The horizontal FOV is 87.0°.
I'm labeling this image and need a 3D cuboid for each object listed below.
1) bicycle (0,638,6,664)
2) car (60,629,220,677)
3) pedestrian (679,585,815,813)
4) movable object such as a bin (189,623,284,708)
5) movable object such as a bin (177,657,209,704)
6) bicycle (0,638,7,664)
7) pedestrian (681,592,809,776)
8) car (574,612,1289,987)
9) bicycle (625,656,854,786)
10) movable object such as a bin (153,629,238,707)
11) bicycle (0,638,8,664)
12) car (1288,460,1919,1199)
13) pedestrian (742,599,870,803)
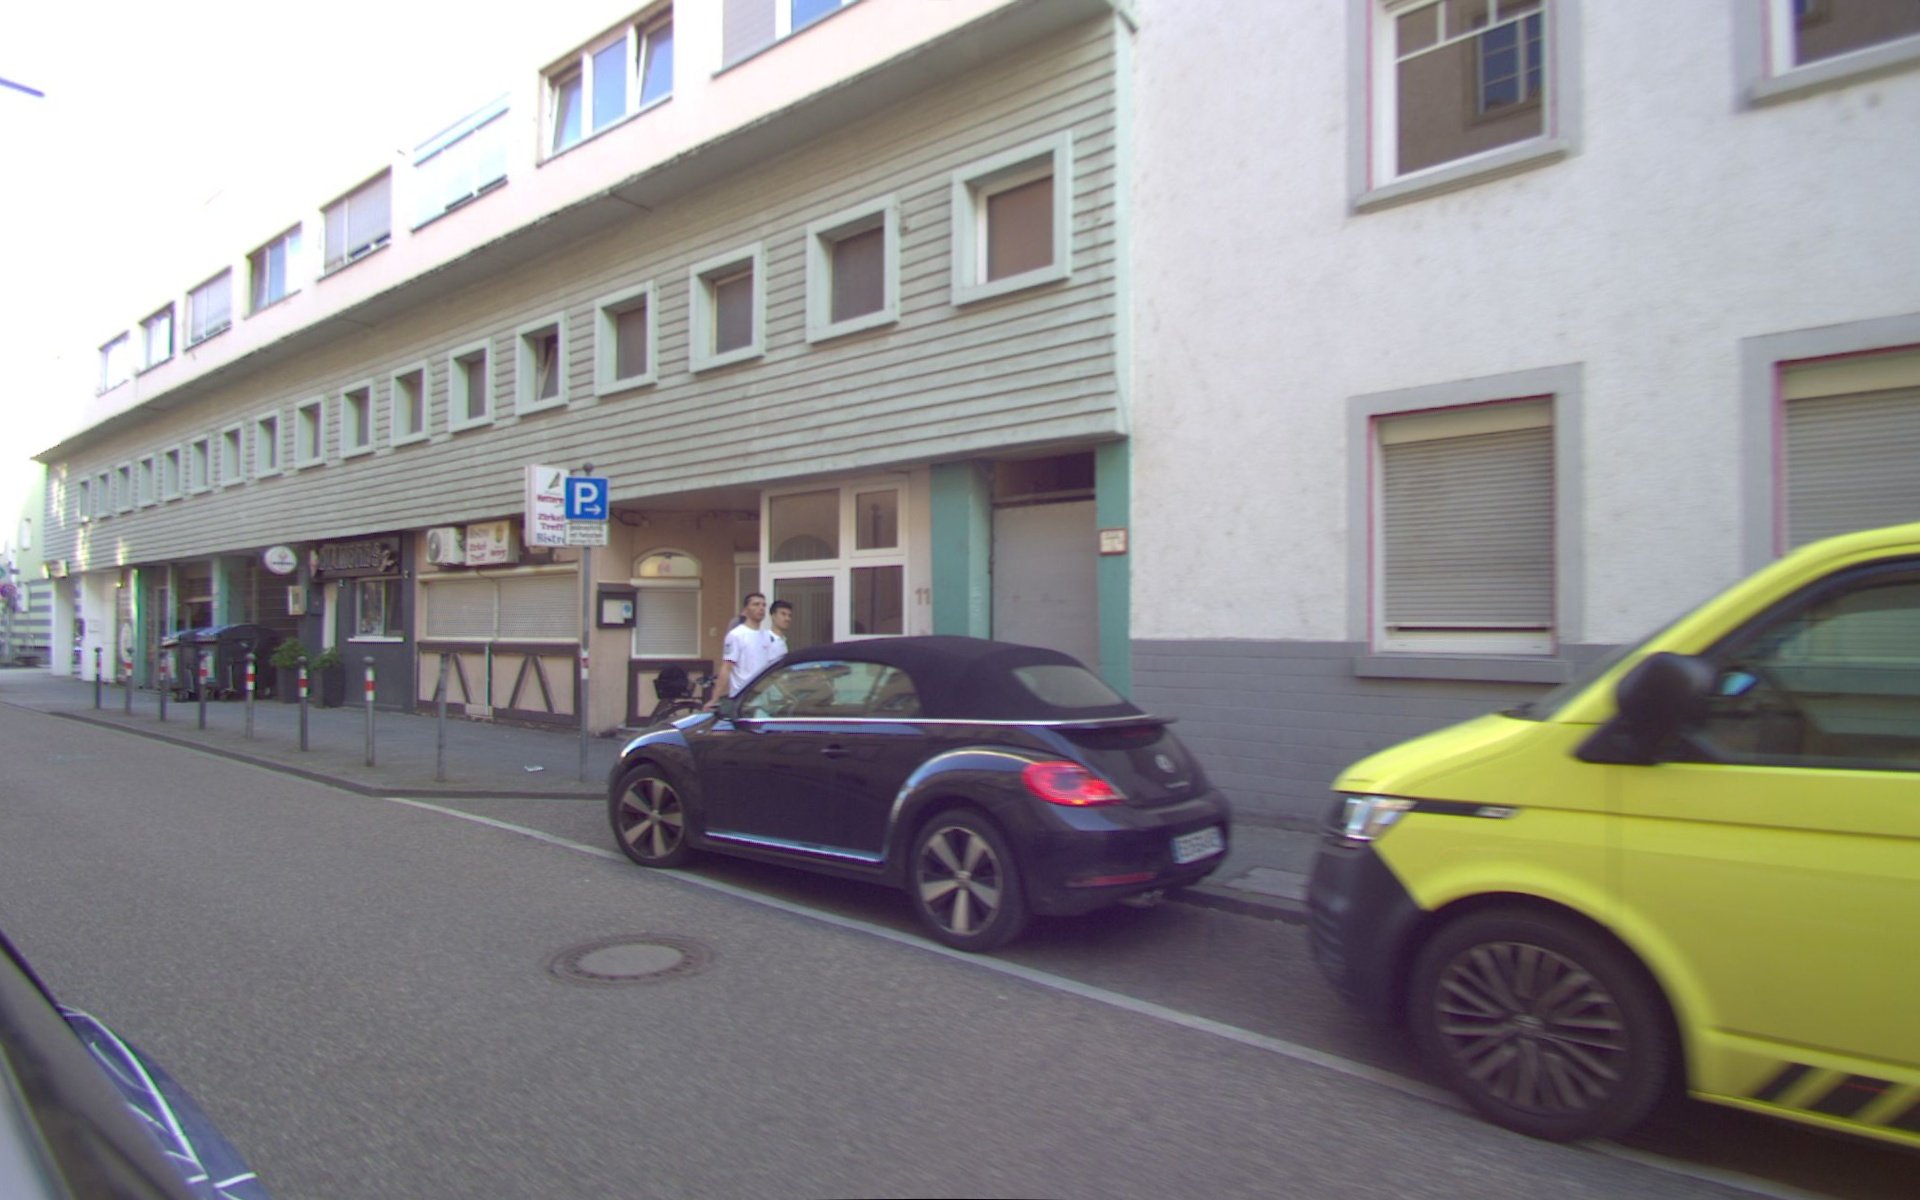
[{"bbox_3d":[-42.178,2.245,43.460,0.387,1.109,1.722,-2,1,29],"label":"bicycle"},{"bbox_3d":[-27.851,1.774,34.475,1.689,1.531,3.897,-1,-3,35],"label":"car"},{"bbox_3d":[-1.750,0.784,8.320,0.828,1.748,0.691,-2,-4,39],"label":"pedestrian"},{"bbox_3d":[-13.754,1.228,19.243,1.339,1.532,1.112,-3,-4,37],"label":"movable object such as a bin"},{"bbox_3d":[-15.819,1.656,20.864,0.466,0.949,0.389,-2,-3,37],"label":"movable object such as a bin"},{"bbox_3d":[-42.455,2.252,43.766,0.387,1.109,1.722,-2,1,29],"label":"bicycle"},{"bbox_3d":[-2.177,0.817,10.228,1.062,1.742,0.804,1,-3,-28],"label":"pedestrian"},{"bbox_3d":[-0.355,0.900,6.071,4.072,1.497,1.801,-1,-5,39],"label":"car"},{"bbox_3d":[-2.206,1.160,10.200,2.098,1.172,0.826,1,-3,-29],"label":"bicycle"},{"bbox_3d":[-15.169,1.341,20.069,1.472,1.483,0.959,-3,-4,37],"label":"movable object such as a bin"},{"bbox_3d":[-41.189,2.194,42.386,0.748,1.109,1.800,-2,1,36],"label":"bicycle"},{"bbox_3d":[3.571,0.642,2.608,4.861,1.881,1.860,-2,-5,41],"label":"car"},{"bbox_3d":[-1.352,0.856,8.913,0.893,1.682,0.666,-2,-4,39],"label":"pedestrian"}]
